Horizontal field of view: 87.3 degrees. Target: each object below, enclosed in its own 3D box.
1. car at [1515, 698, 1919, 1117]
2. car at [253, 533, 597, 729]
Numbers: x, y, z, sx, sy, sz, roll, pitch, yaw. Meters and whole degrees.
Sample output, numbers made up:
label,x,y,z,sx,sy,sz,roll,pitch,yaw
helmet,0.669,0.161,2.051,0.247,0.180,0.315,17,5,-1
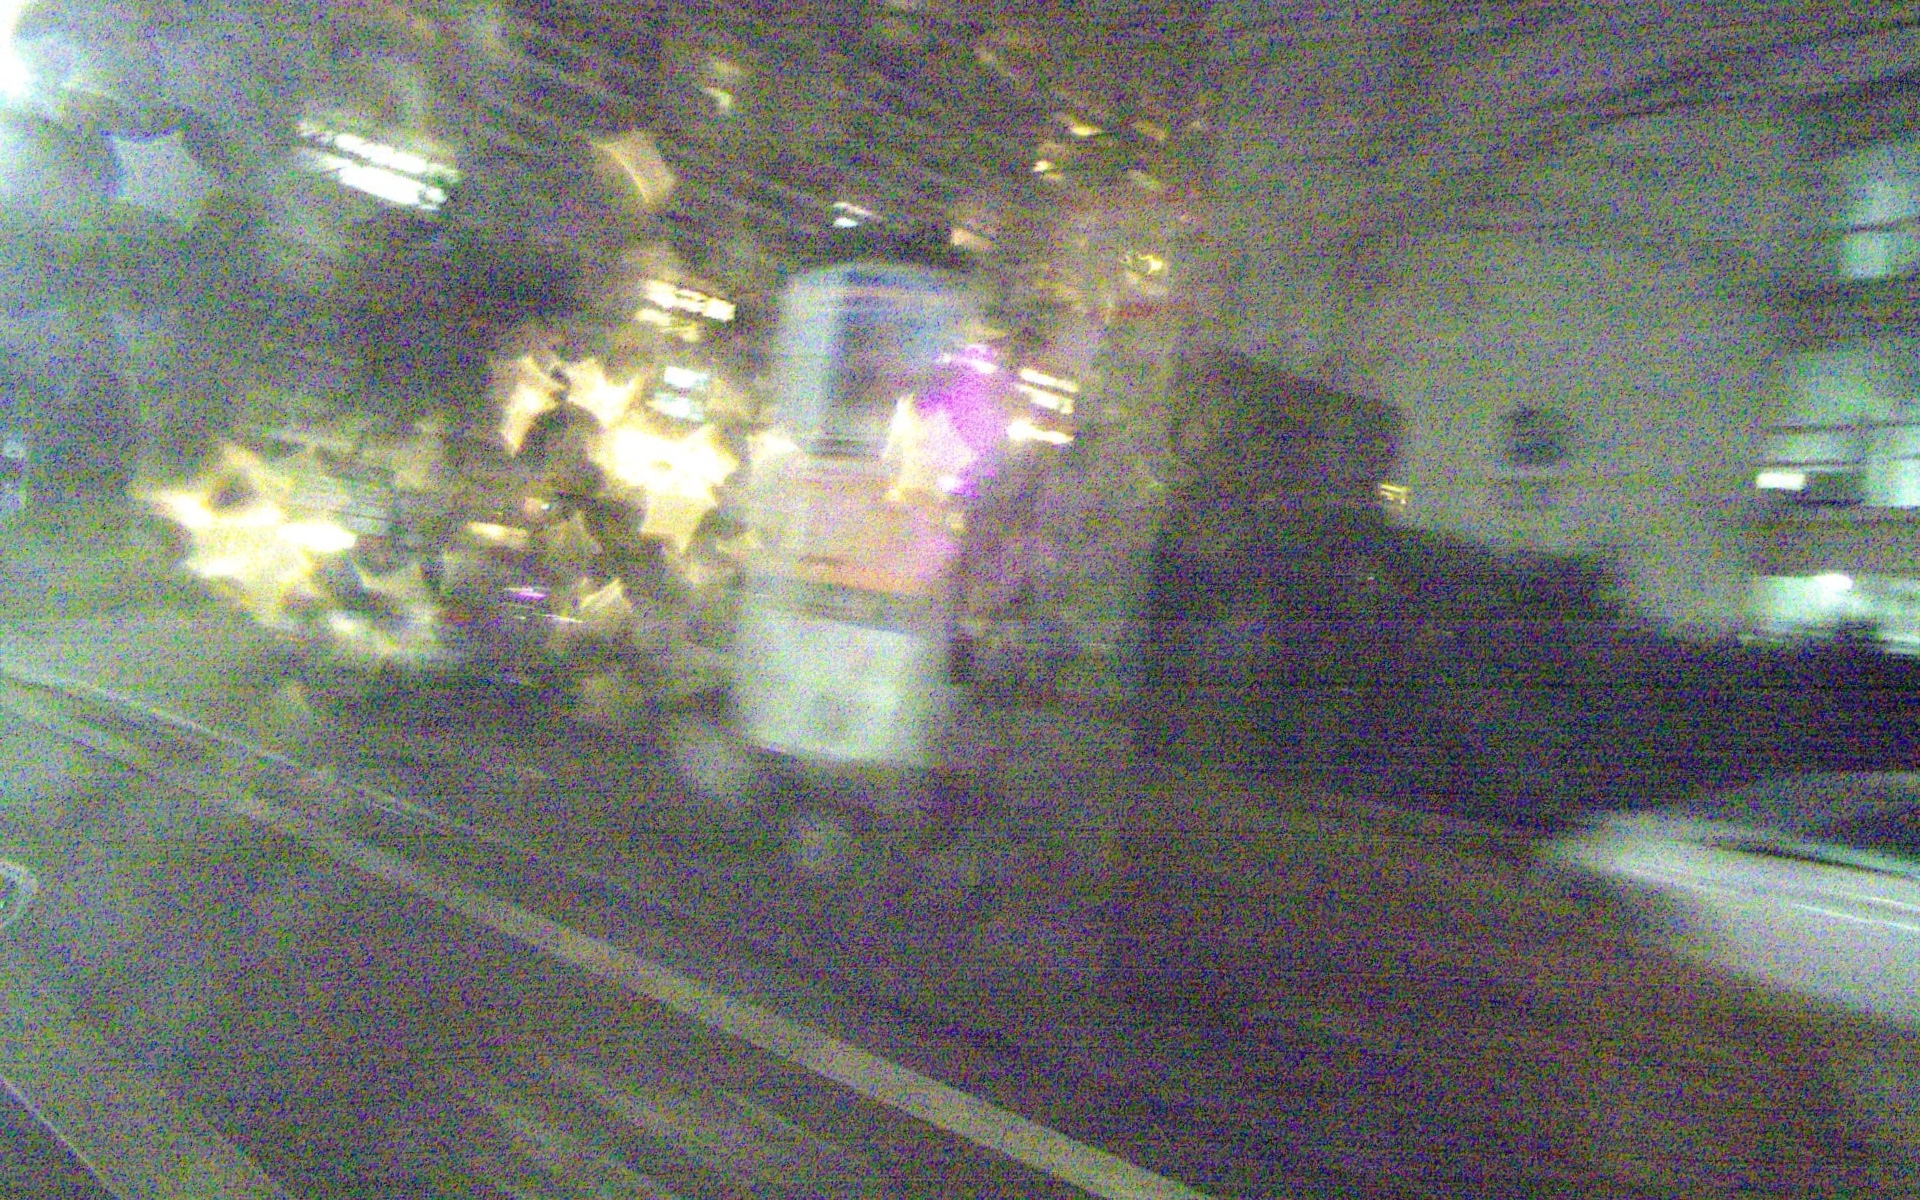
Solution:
label,x,y,z,sx,sy,sz,roll,pitch,yaw
car,4.783,1.468,4.504,1.685,1.529,3.897,8,-2,-14
car,-5.357,0.303,10.806,1.652,1.485,4.338,7,-1,-7
